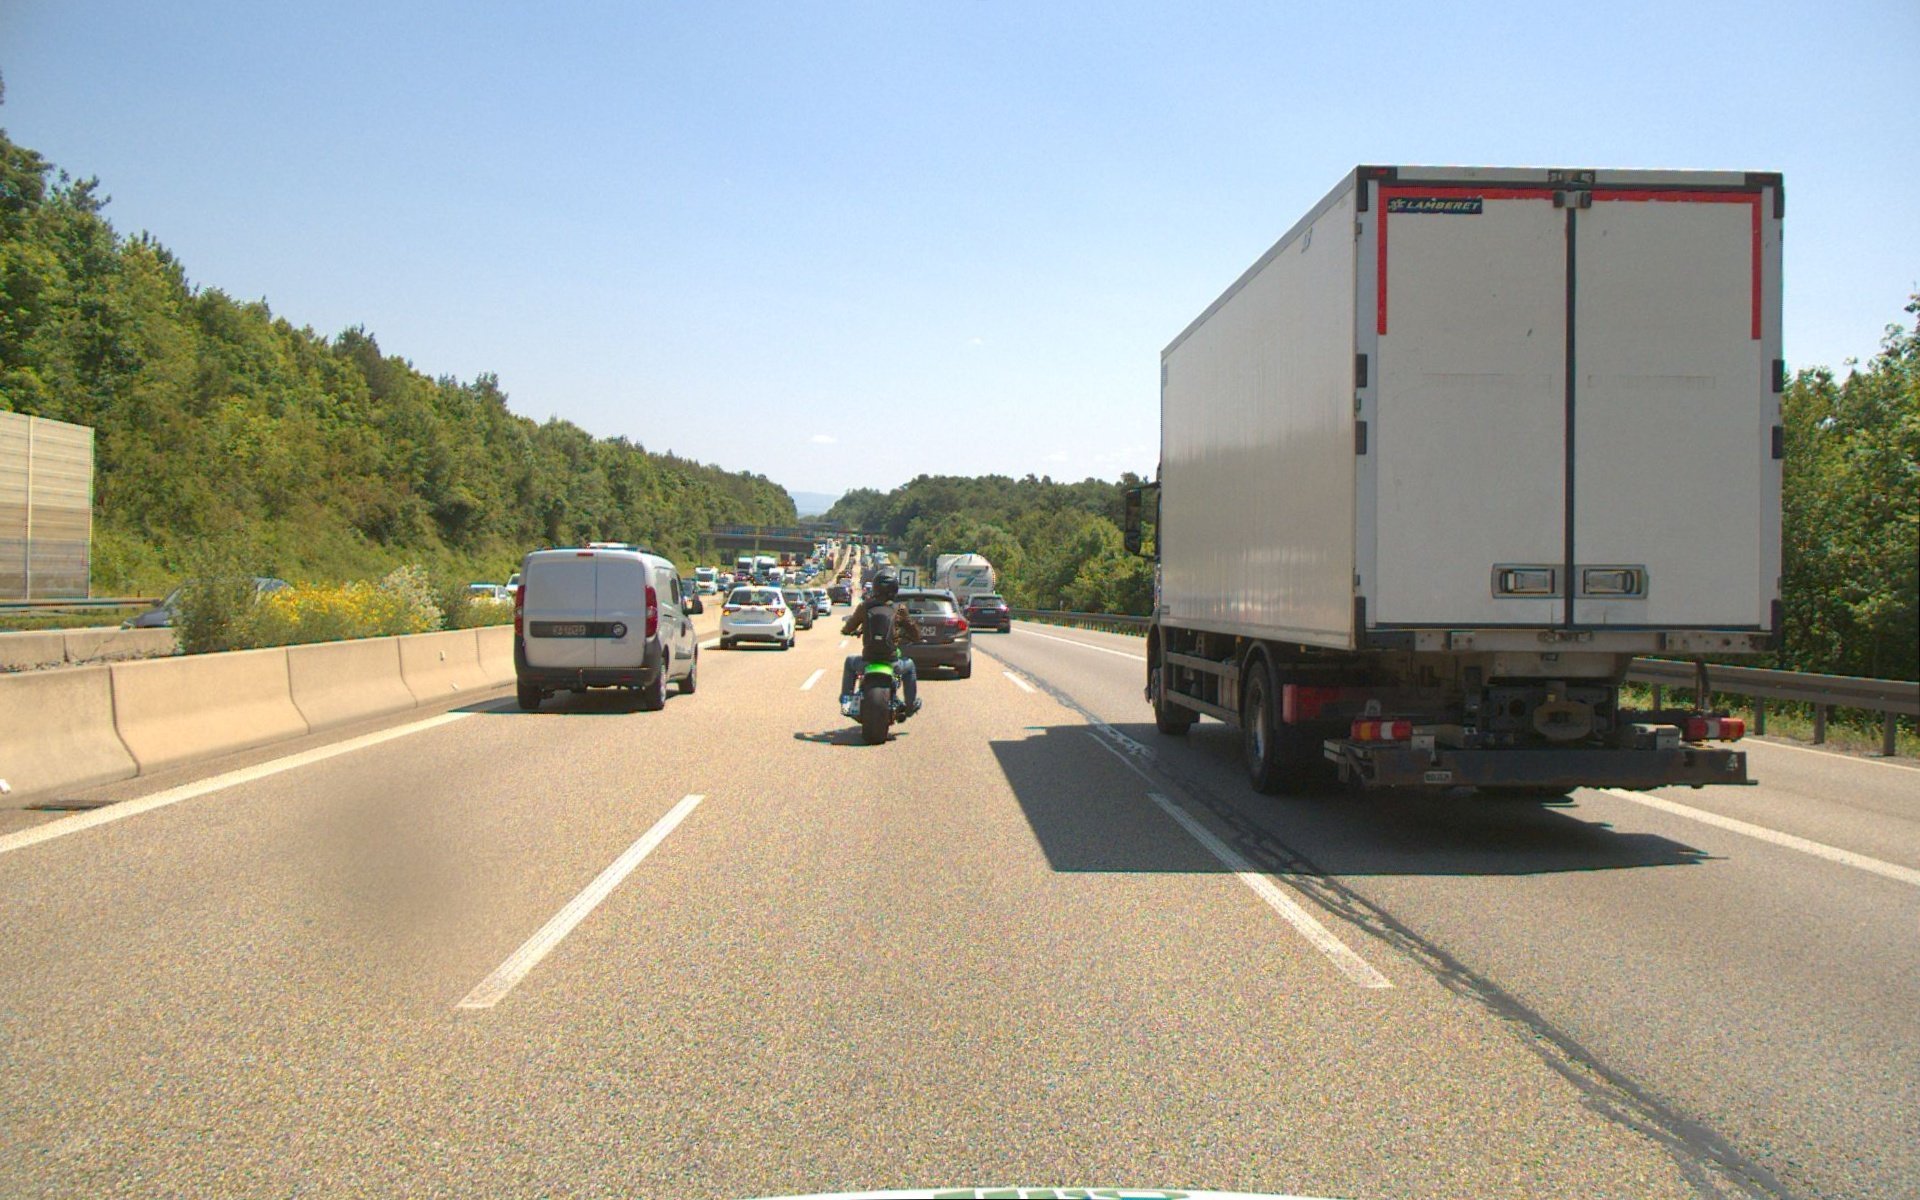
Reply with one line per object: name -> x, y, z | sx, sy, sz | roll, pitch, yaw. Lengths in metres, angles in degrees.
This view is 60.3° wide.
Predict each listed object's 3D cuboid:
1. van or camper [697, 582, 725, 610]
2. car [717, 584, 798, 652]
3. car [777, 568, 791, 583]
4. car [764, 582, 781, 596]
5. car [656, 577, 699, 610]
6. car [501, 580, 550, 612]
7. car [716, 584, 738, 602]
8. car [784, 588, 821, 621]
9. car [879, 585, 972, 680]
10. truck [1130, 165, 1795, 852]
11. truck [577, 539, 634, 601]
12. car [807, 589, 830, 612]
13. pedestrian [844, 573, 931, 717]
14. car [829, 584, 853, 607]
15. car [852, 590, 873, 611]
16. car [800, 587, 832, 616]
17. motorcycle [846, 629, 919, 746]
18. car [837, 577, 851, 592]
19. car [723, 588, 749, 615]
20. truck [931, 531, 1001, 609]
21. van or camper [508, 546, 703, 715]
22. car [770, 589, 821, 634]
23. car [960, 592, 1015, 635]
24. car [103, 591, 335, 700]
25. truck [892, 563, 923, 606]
van or camper -> -25.360, -0.430, 168.934 | 2.225, 2.783, 6.801 | 1, 0, -4
car -> -4.947, 0.393, 40.848 | 1.666, 1.504, 3.997 | 3, 1, -4
car -> -24.570, -3.423, 231.108 | 1.855, 1.982, 3.996 | 1, 0, -5
car -> -21.304, -1.284, 188.339 | 1.677, 1.564, 4.125 | 1, 0, -4
car -> -15.164, -0.365, 88.928 | 1.650, 1.728, 4.656 | 1, 0, -2
car -> -26.669, -0.242, 101.630 | 1.883, 1.900, 5.299 | 1, 0, -4
car -> -28.035, -0.833, 199.463 | 2.184, 2.049, 5.808 | 1, 0, -4
car -> -7.802, 0.217, 82.183 | 1.666, 1.504, 3.997 | 3, 1, -4
car -> -0.630, 0.514, 28.979 | 1.502, 1.536, 3.999 | 1, 0, -2
truck -> 3.409, -0.558, 14.422 | 2.634, 3.944, 9.777 | 0, 0, -1
truck -> -23.737, -1.950, 111.055 | 2.757, 3.976, 7.309 | 1, 0, -4
car -> -13.456, 0.051, 157.378 | 1.954, 2.049, 3.998 | 1, 0, -3
pedestrian -> -0.719, 0.434, 16.523 | 0.832, 1.385, 0.961 | 1, 0, -3
car -> -10.144, -0.397, 141.283 | 1.843, 1.892, 3.998 | 3, 1, -3
car -> -6.967, 0.014, 118.479 | 1.364, 1.489, 2.778 | 1, 0, -1
car -> -8.090, 0.060, 93.201 | 1.666, 1.504, 3.997 | 3, 1, -4
motorcycle -> -0.766, 0.835, 16.556 | 0.677, 1.033, 2.120 | 1, 0, -2
car -> -16.522, -2.198, 235.828 | 1.891, 2.049, 3.998 | 1, 0, -3
car -> -17.142, 0.086, 126.616 | 1.729, 2.049, 3.996 | 1, 0, -5
truck -> 0.206, -1.436, 84.348 | 2.928, 3.735, 9.281 | 1, 0, -3
van or camper -> -4.406, 0.357, 21.149 | 1.760, 1.925, 4.157 | 1, 0, -3
car -> -6.013, 0.384, 60.864 | 1.666, 1.504, 3.997 | 3, 1, -4
car -> 1.036, 0.496, 64.286 | 1.793, 1.496, 3.997 | 3, 1, -3
car -> -11.846, 0.661, 26.809 | 1.711, 1.605, 4.713 | 1, 0, -1
truck -> -6.106, -1.816, 189.893 | 2.973, 4.621, 9.976 | 4, 1, -3
